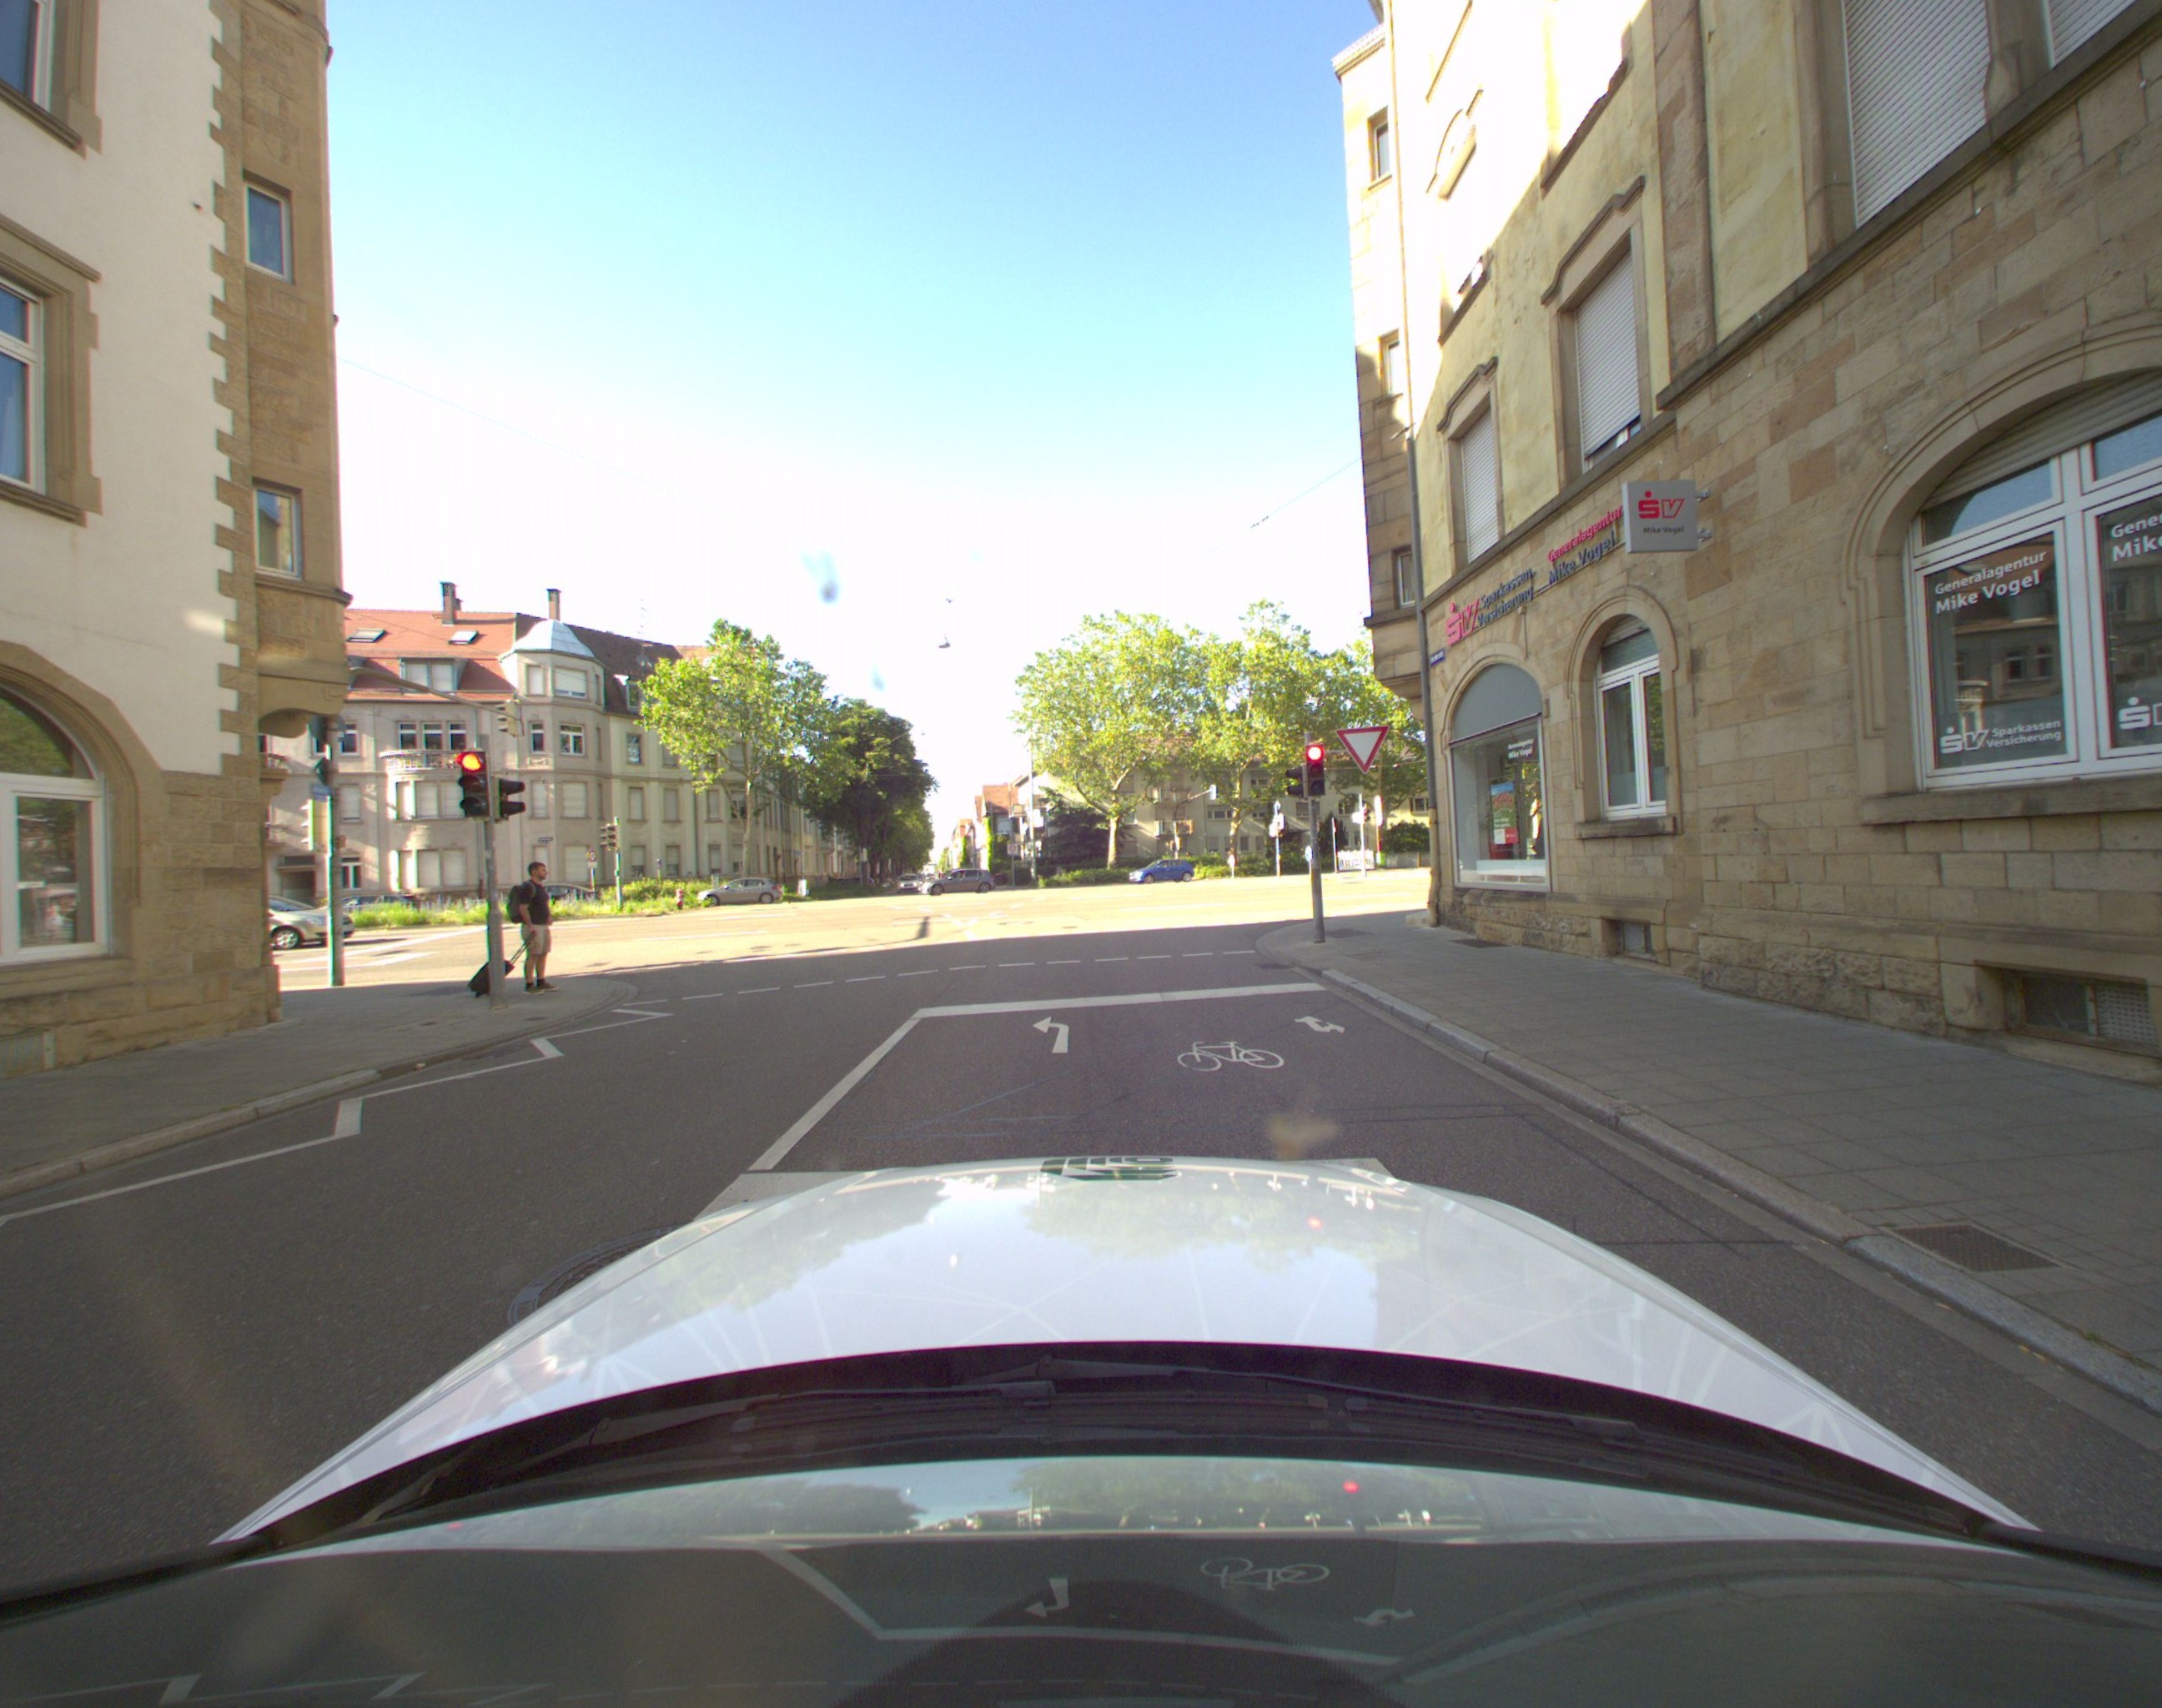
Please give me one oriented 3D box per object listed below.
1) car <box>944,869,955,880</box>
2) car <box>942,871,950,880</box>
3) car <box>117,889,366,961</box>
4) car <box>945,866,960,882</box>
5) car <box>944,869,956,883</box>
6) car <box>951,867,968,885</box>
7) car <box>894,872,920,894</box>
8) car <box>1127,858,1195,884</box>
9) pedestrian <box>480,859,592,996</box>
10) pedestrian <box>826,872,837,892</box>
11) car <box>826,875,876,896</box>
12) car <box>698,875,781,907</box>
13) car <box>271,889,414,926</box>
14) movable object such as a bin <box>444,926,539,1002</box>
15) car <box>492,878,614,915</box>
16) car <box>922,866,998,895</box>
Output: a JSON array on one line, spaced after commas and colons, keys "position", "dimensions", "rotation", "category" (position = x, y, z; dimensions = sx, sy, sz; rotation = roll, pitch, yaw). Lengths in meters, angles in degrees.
[{"position": [-23.752, 3.718, 147.187], "dimensions": [1.773, 1.918, 3.522], "rotation": [-4, 0, -10], "category": "car"}, {"position": [-30.128, 4.829, 181.729], "dimensions": [1.773, 1.918, 3.522], "rotation": [-4, 0, -10], "category": "car"}, {"position": [-21.867, 1.809, 21.431], "dimensions": [4.212, 1.456, 1.669], "rotation": [-3, 0, -17], "category": "car"}, {"position": [-16.564, 2.559, 105.206], "dimensions": [1.773, 1.918, 3.522], "rotation": [-4, 0, -10], "category": "car"}, {"position": [-20.743, 3.491, 128.818], "dimensions": [1.773, 1.918, 3.522], "rotation": [-4, 0, -10], "category": "car"}, {"position": [-14.182, 2.522, 95.186], "dimensions": [1.773, 1.918, 3.522], "rotation": [-4, 0, -10], "category": "car"}, {"position": [-13.593, 2.271, 63.820], "dimensions": [1.698, 1.483, 3.522], "rotation": [-4, 0, -10], "category": "car"}, {"position": [4.908, 1.027, 49.812], "dimensions": [3.787, 1.400, 1.638], "rotation": [-2, 0, -15], "category": "car"}, {"position": [-7.672, 1.000, 11.510], "dimensions": [1.066, 1.849, 0.746], "rotation": [1, -1, -11], "category": "pedestrian"}, {"position": [-17.520, 1.965, 57.174], "dimensions": [0.705, 1.442, 0.486], "rotation": [0, -1, -21], "category": "pedestrian"}, {"position": [-17.950, 2.474, 63.716], "dimensions": [3.636, 1.457, 1.650], "rotation": [-2, 0, -14], "category": "car"}, {"position": [-17.511, 1.875, 41.881], "dimensions": [3.793, 1.400, 1.635], "rotation": [-2, 0, -20], "category": "car"}, {"position": [-32.905, 2.362, 36.413], "dimensions": [4.399, 1.316, 1.636], "rotation": [-2, 0, -18], "category": "car"}, {"position": [-7.876, 1.459, 10.906], "dimensions": [0.862, 0.892, 0.507], "rotation": [-3, 0, -11], "category": "movable object such as a bin"}, {"position": [-23.712, 1.885, 36.757], "dimensions": [4.281, 1.400, 1.635], "rotation": [-2, 0, -20], "category": "car"}, {"position": [-6.785, 1.475, 45.551], "dimensions": [3.952, 1.400, 1.635], "rotation": [-2, 0, -20], "category": "car"}]
